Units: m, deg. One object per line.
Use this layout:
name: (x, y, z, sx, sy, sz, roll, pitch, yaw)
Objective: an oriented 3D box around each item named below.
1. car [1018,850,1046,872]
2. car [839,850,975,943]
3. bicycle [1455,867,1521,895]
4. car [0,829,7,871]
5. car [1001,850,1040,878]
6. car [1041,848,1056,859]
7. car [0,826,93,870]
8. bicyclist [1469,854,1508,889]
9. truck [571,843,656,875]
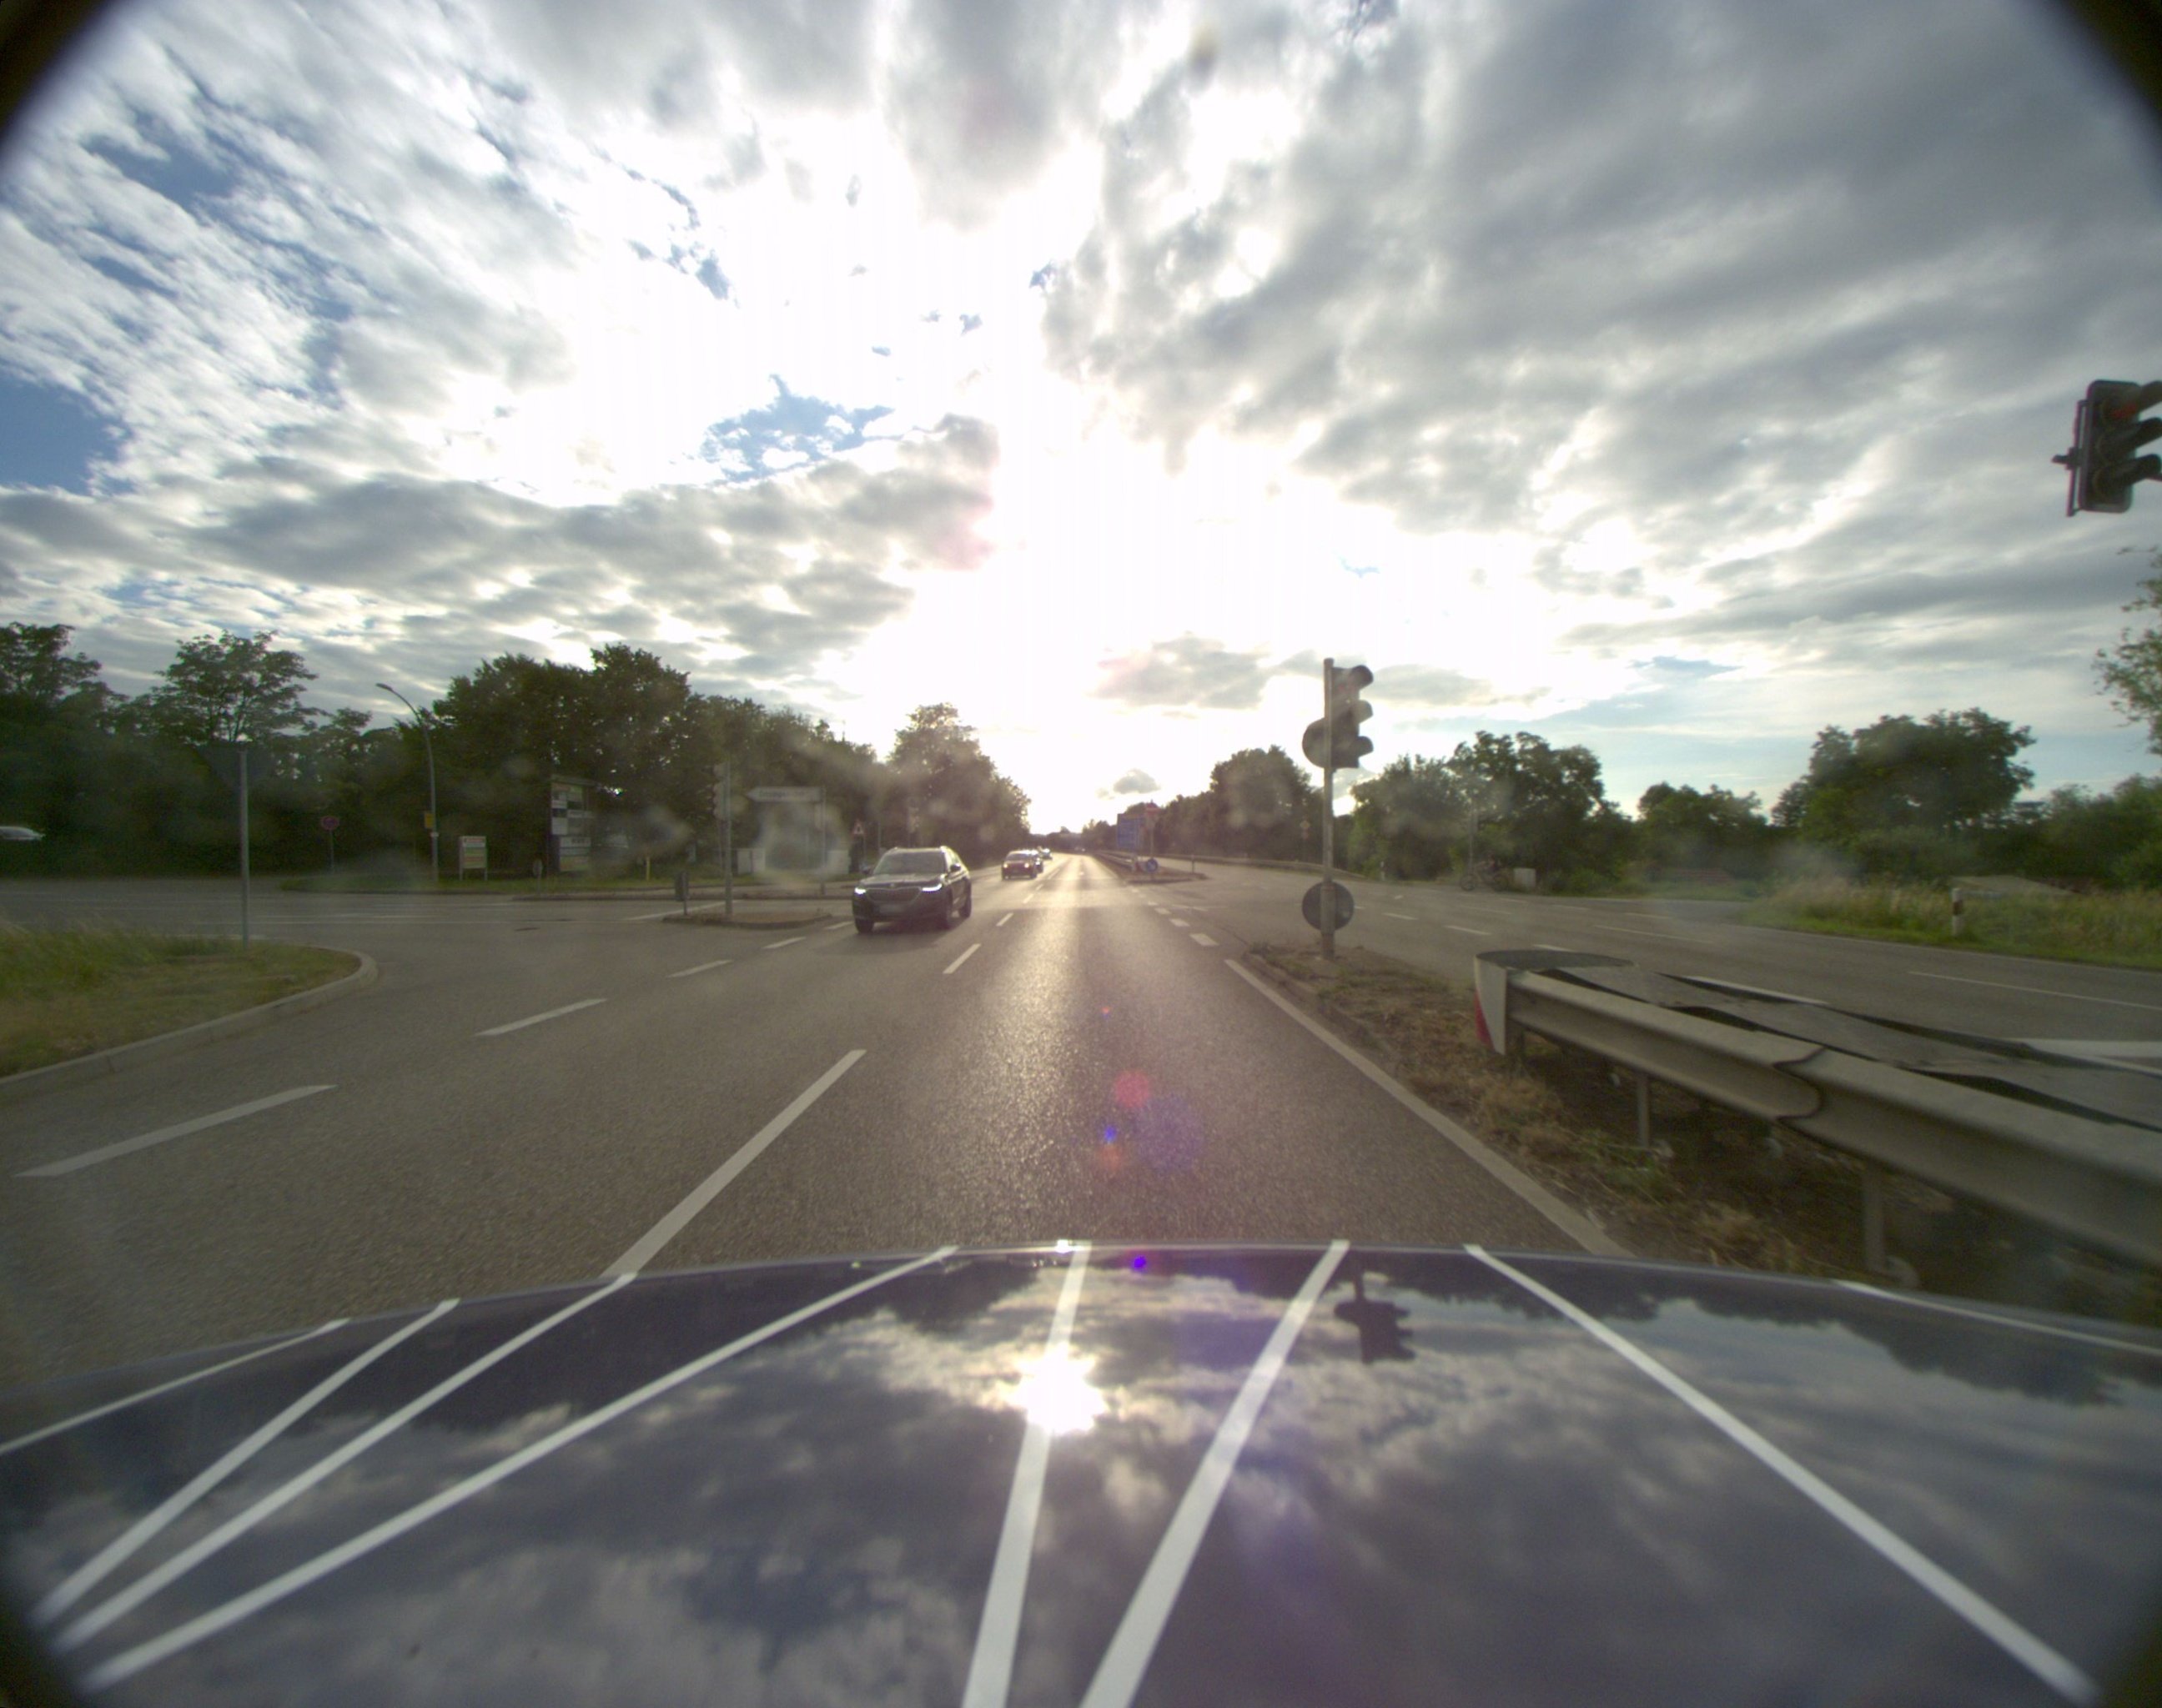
car: (-3.394, 0.447, 52.879, 1.700, 1.407, 3.999, -2, 1, -1)
car: (-3.516, 0.777, 16.240, 1.849, 1.640, 4.480, -2, 0, -1)
bicycle: (17.334, 1.149, 32.403, 2.324, 1.130, 0.816, 1, -2, 5)
car: (-49.609, -0.244, 32.509, 4.303, 1.841, 1.960, 2, 1, -3)
car: (-3.223, 0.516, 41.395, 1.666, 1.424, 3.995, -1, 0, 2)
car: (-4.686, -0.104, 109.422, 1.999, 1.486, 3.999, 1, 0, 0)
car: (-49.696, -0.306, 35.500, 4.303, 1.873, 1.960, 2, 1, -3)
bicyclist: (17.370, 0.752, 32.398, 1.225, 1.442, 0.816, 1, -2, 5)
truck: (-31.360, 0.290, 50.988, 4.679, 1.985, 1.819, -2, 1, -36)
